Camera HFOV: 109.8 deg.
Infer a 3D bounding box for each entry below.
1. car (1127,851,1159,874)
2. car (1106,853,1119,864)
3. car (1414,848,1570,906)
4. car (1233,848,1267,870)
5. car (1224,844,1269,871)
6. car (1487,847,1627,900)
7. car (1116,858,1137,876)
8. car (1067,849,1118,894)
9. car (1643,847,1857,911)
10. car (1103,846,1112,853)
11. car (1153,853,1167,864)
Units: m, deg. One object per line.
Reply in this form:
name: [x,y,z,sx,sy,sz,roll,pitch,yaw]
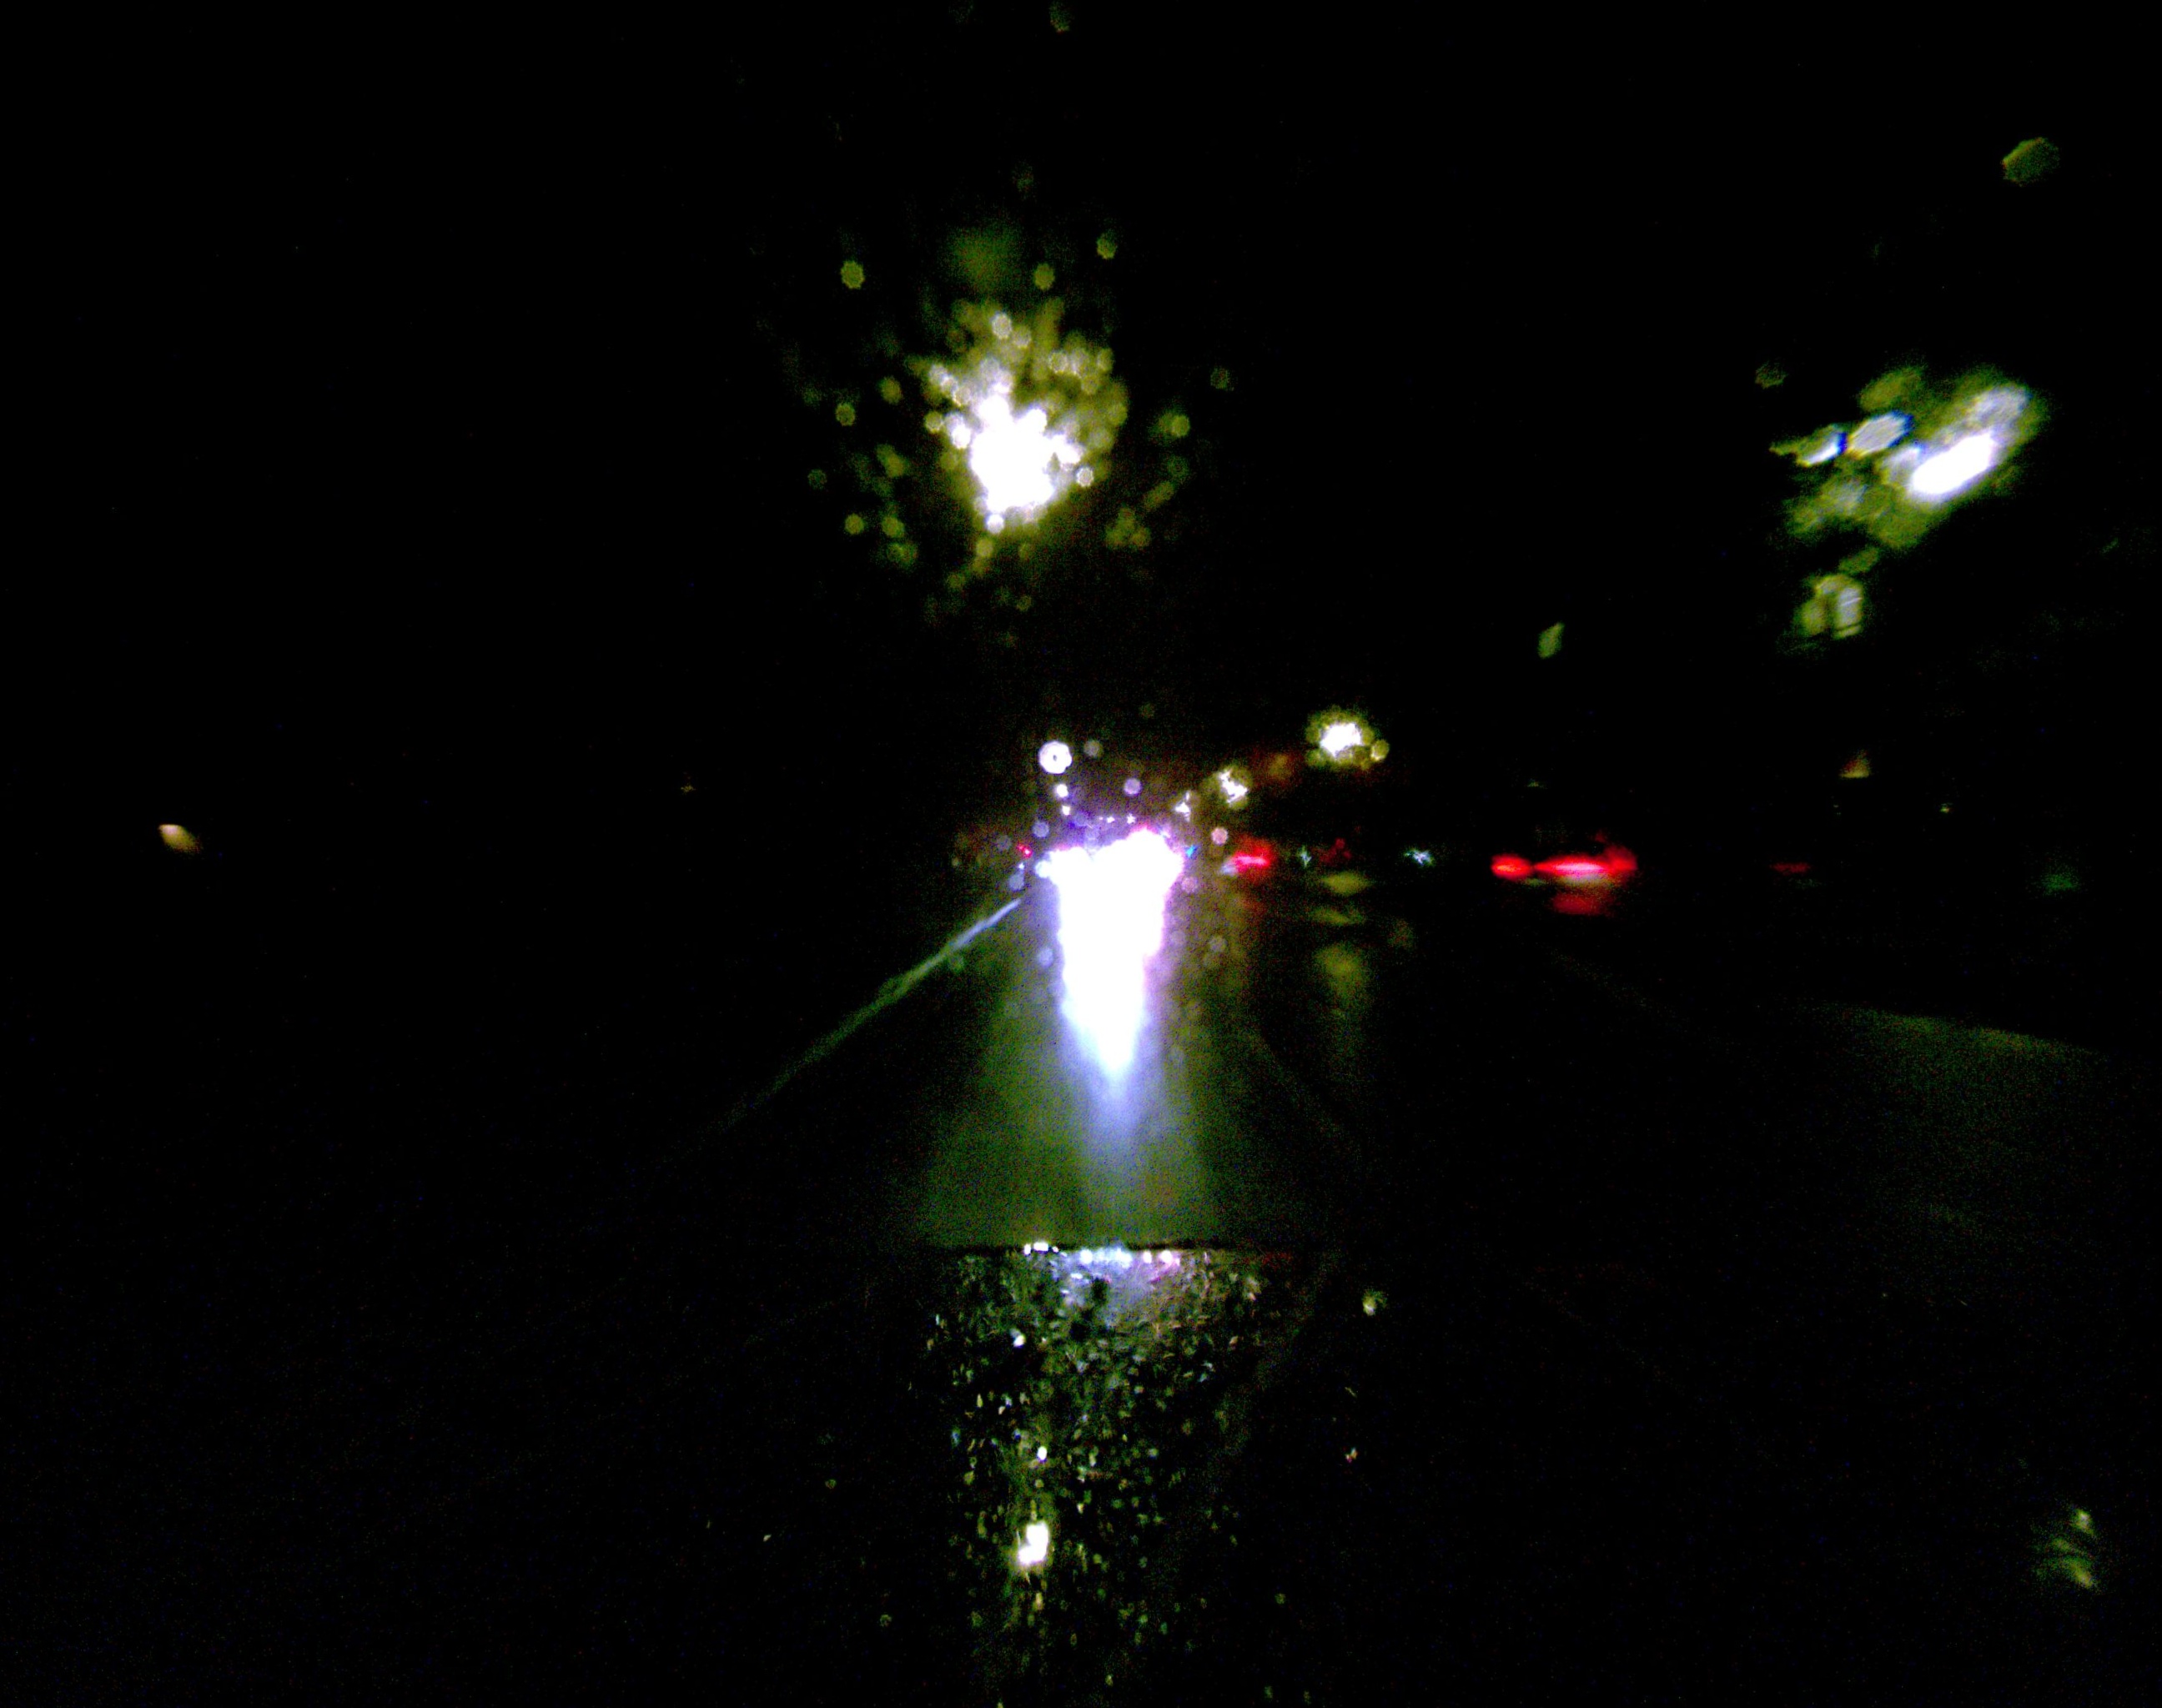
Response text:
car: [4.456,0.590,55.063,1.834,1.518,4.874,-2,1,0]
car: [5.071,0.763,122.837,1.834,1.696,4.193,-2,1,0]
car: [12.984,0.635,24.478,1.848,1.583,5.325,-2,1,-4]
car: [13.091,0.351,59.064,1.711,1.568,3.819,-2,1,-1]
car: [10.581,0.198,48.925,1.848,1.583,4.255,2,1,-1]
car: [16.155,0.586,26.126,1.848,1.583,4.750,-2,1,1]
car: [4.580,1.281,77.634,1.834,1.696,4.193,-2,1,0]
car: [0.470,0.696,32.447,1.950,1.709,4.441,-2,1,0]
car: [19.074,0.625,22.036,1.848,1.583,4.748,-2,1,-3]
car: [6.343,-1.063,182.467,1.834,1.696,4.193,-2,1,0]
car: [13.017,0.726,124.883,1.711,1.568,3.819,-2,1,-1]
